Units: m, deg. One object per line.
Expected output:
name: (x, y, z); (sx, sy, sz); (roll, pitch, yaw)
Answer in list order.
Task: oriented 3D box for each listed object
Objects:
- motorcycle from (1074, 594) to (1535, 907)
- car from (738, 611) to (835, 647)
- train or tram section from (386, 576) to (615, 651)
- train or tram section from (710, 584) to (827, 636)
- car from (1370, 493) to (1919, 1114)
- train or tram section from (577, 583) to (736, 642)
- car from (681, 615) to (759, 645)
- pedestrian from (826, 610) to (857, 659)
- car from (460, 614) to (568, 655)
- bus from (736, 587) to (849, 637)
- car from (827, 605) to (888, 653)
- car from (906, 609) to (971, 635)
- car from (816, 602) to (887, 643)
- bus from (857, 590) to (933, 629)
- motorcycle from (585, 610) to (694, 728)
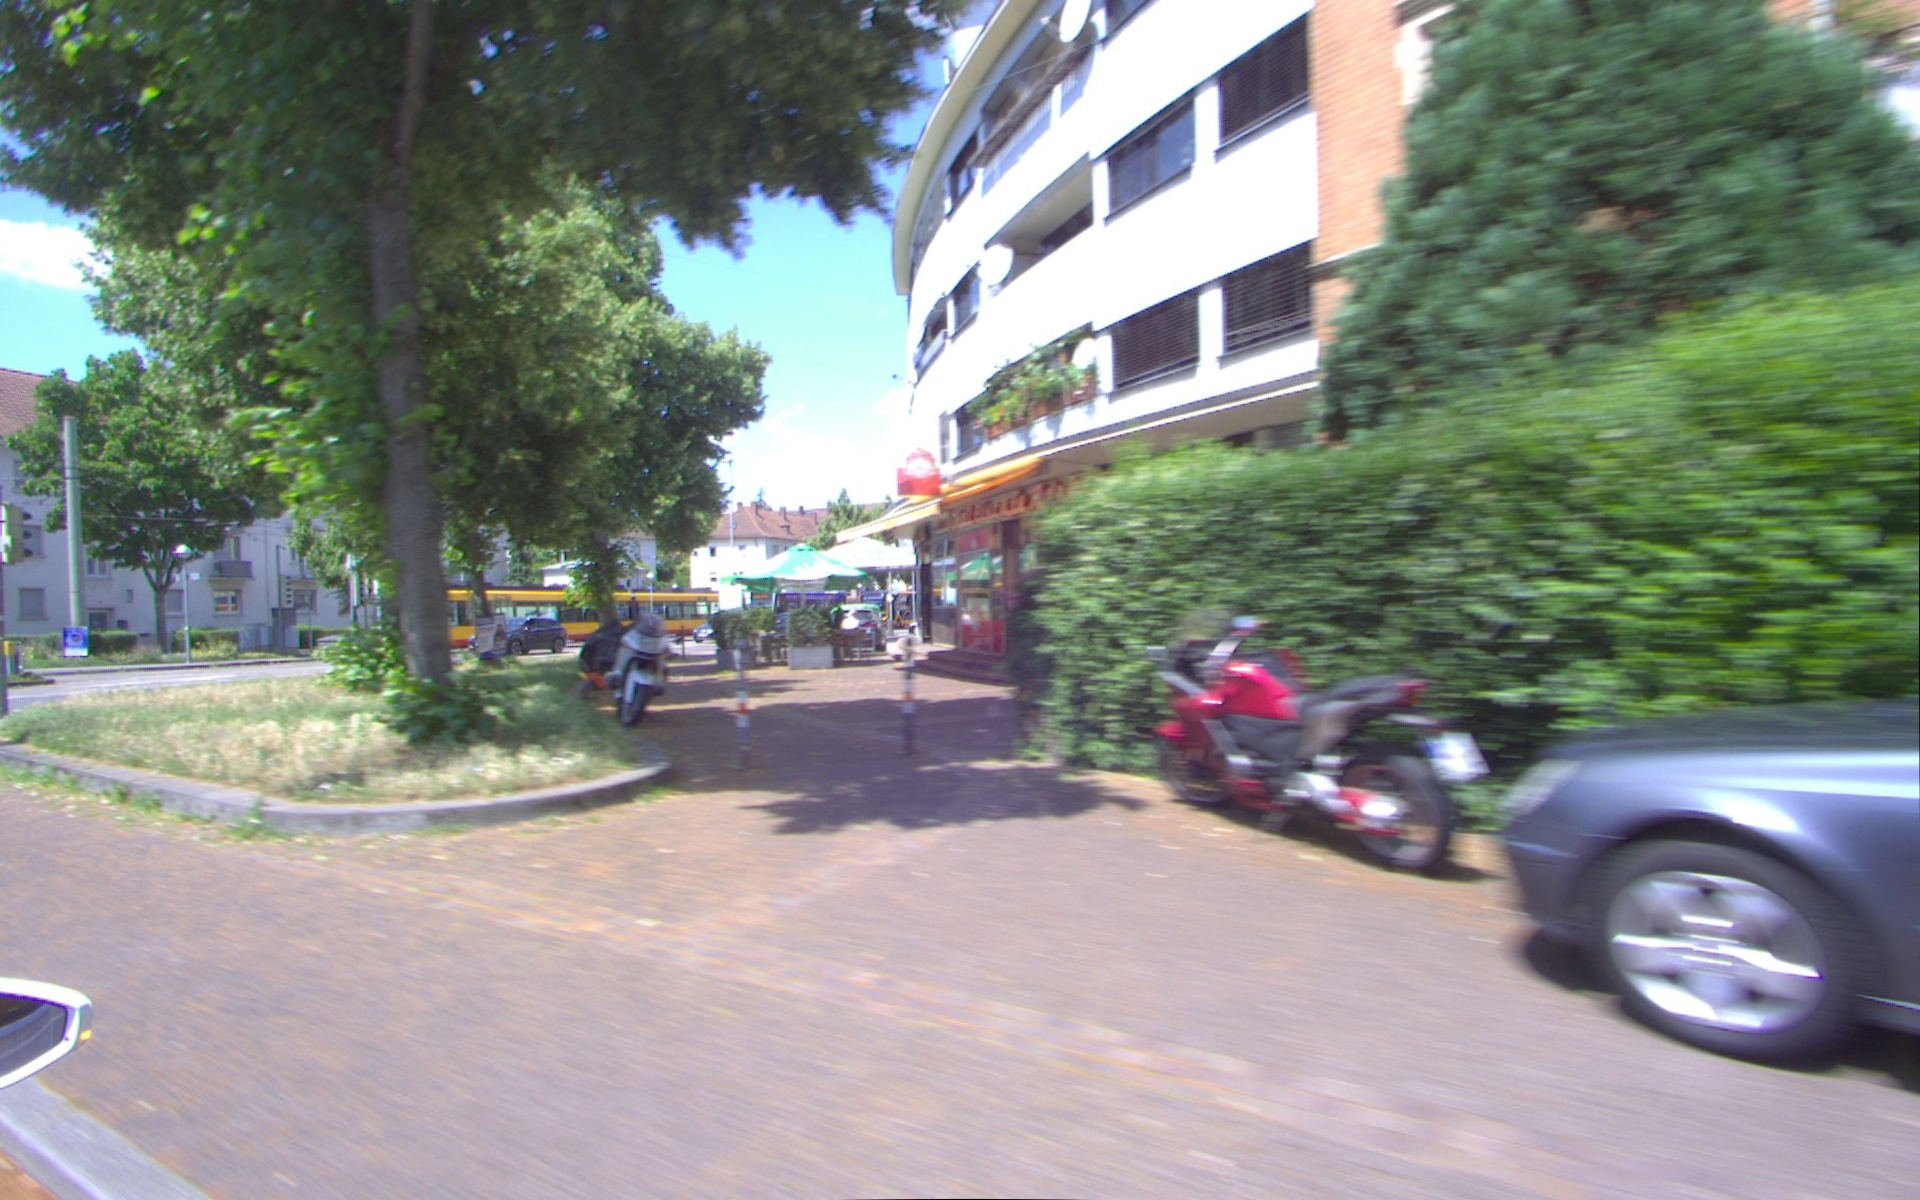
motorcycle: (1.728, 0.637, 5.459); (0.921, 1.320, 2.264); (-2, 2, -36)
car: (-7.451, 1.246, 42.927); (4.124, 1.458, 1.887); (-2, -1, 40)
train or tram section: (-24.657, 0.724, 55.350); (2.768, 3.615, 14.159); (-1, -1, 17)
train or tram section: (-15.732, 0.870, 84.432); (2.744, 3.946, 15.527); (-1, -1, 17)
car: (3.779, 0.510, 2.221); (1.818, 1.569, 5.116); (-1, 1, -37)
train or tram section: (-20.419, 0.832, 69.114); (2.744, 3.615, 14.683); (-1, -1, 17)
car: (-13.021, 1.627, 54.628); (1.965, 1.539, 4.502); (-1, -1, 20)
pedestrian: (-3.242, 0.932, 27.425); (0.800, 1.322, 1.017); (-1, 0, -6)
car: (-17.378, 1.311, 39.235); (1.961, 1.519, 4.426); (-1, -1, 5)
bus: (-11.410, 0.805, 69.942); (2.690, 3.170, 11.990); (-1, -1, 17)
car: (-3.336, 0.963, 33.130); (1.674, 1.447, 4.364); (-1, -1, -2)
car: (-1.331, 1.377, 62.414); (3.866, 1.538, 1.823); (-1, -1, 5)
car: (-5.258, 1.094, 48.056); (1.816, 1.817, 4.004); (-1, -1, -31)
bus: (-5.534, 0.847, 88.383); (2.690, 3.170, 11.990); (-1, -1, 17)
motorcycle: (-4.019, 0.803, 12.437); (0.905, 1.330, 2.215); (0, -1, -28)
